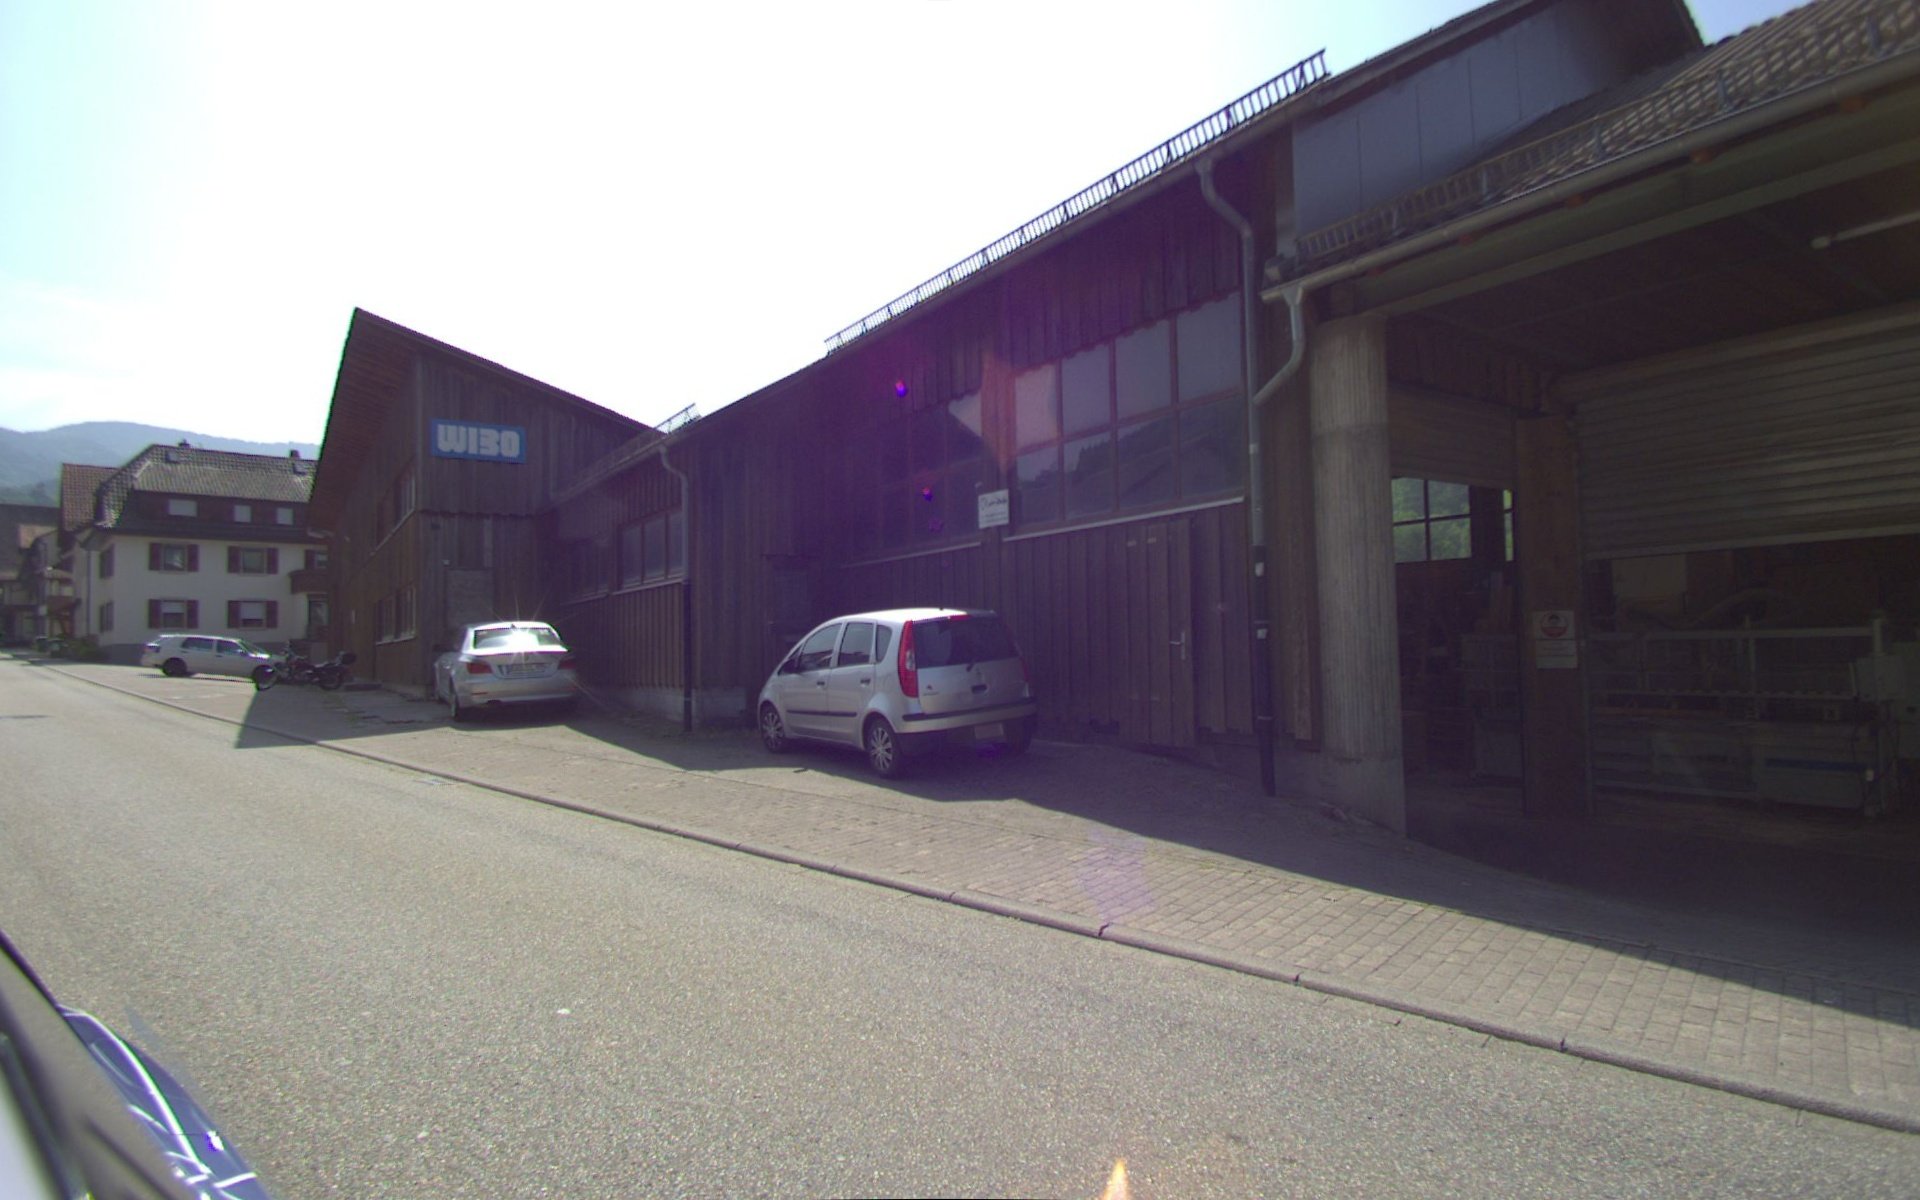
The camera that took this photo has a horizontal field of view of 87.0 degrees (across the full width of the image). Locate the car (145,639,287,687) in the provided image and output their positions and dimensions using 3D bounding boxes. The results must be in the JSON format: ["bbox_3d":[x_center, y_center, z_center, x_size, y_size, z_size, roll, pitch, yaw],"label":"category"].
[{"bbox_3d":[-25.165,2.143,34.392,3.608,1.396,1.716,6,-5,-30],"label":"car"}]

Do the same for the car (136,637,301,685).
[{"bbox_3d":[-26.749,2.230,36.703,4.367,1.486,1.930,4,-5,-20],"label":"car"}]

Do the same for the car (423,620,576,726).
[{"bbox_3d":[-7.724,1.143,16.700,1.705,1.465,4.818,0,-3,-32],"label":"car"}]

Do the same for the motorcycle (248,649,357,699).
[{"bbox_3d":[-17.541,1.951,27.040,2.376,1.274,0.745,2,-3,-36],"label":"motorcycle"}]

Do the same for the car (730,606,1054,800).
[{"bbox_3d":[-0.920,0.940,10.744,1.559,1.582,4.033,-3,0,-34],"label":"car"}]

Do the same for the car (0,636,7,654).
[{"bbox_3d":[-88.074,4.133,92.005,4.284,1.565,1.751,-2,-2,42],"label":"car"}]

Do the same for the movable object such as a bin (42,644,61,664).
[{"bbox_3d":[-49.750,2.968,55.417,0.621,1.075,0.668,-2,-3,43],"label":"movable object such as a bin"}]

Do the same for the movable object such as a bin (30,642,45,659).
[{"bbox_3d":[-63.712,3.495,69.902,0.709,1.190,0.598,4,-5,-45],"label":"movable object such as a bin"}]
